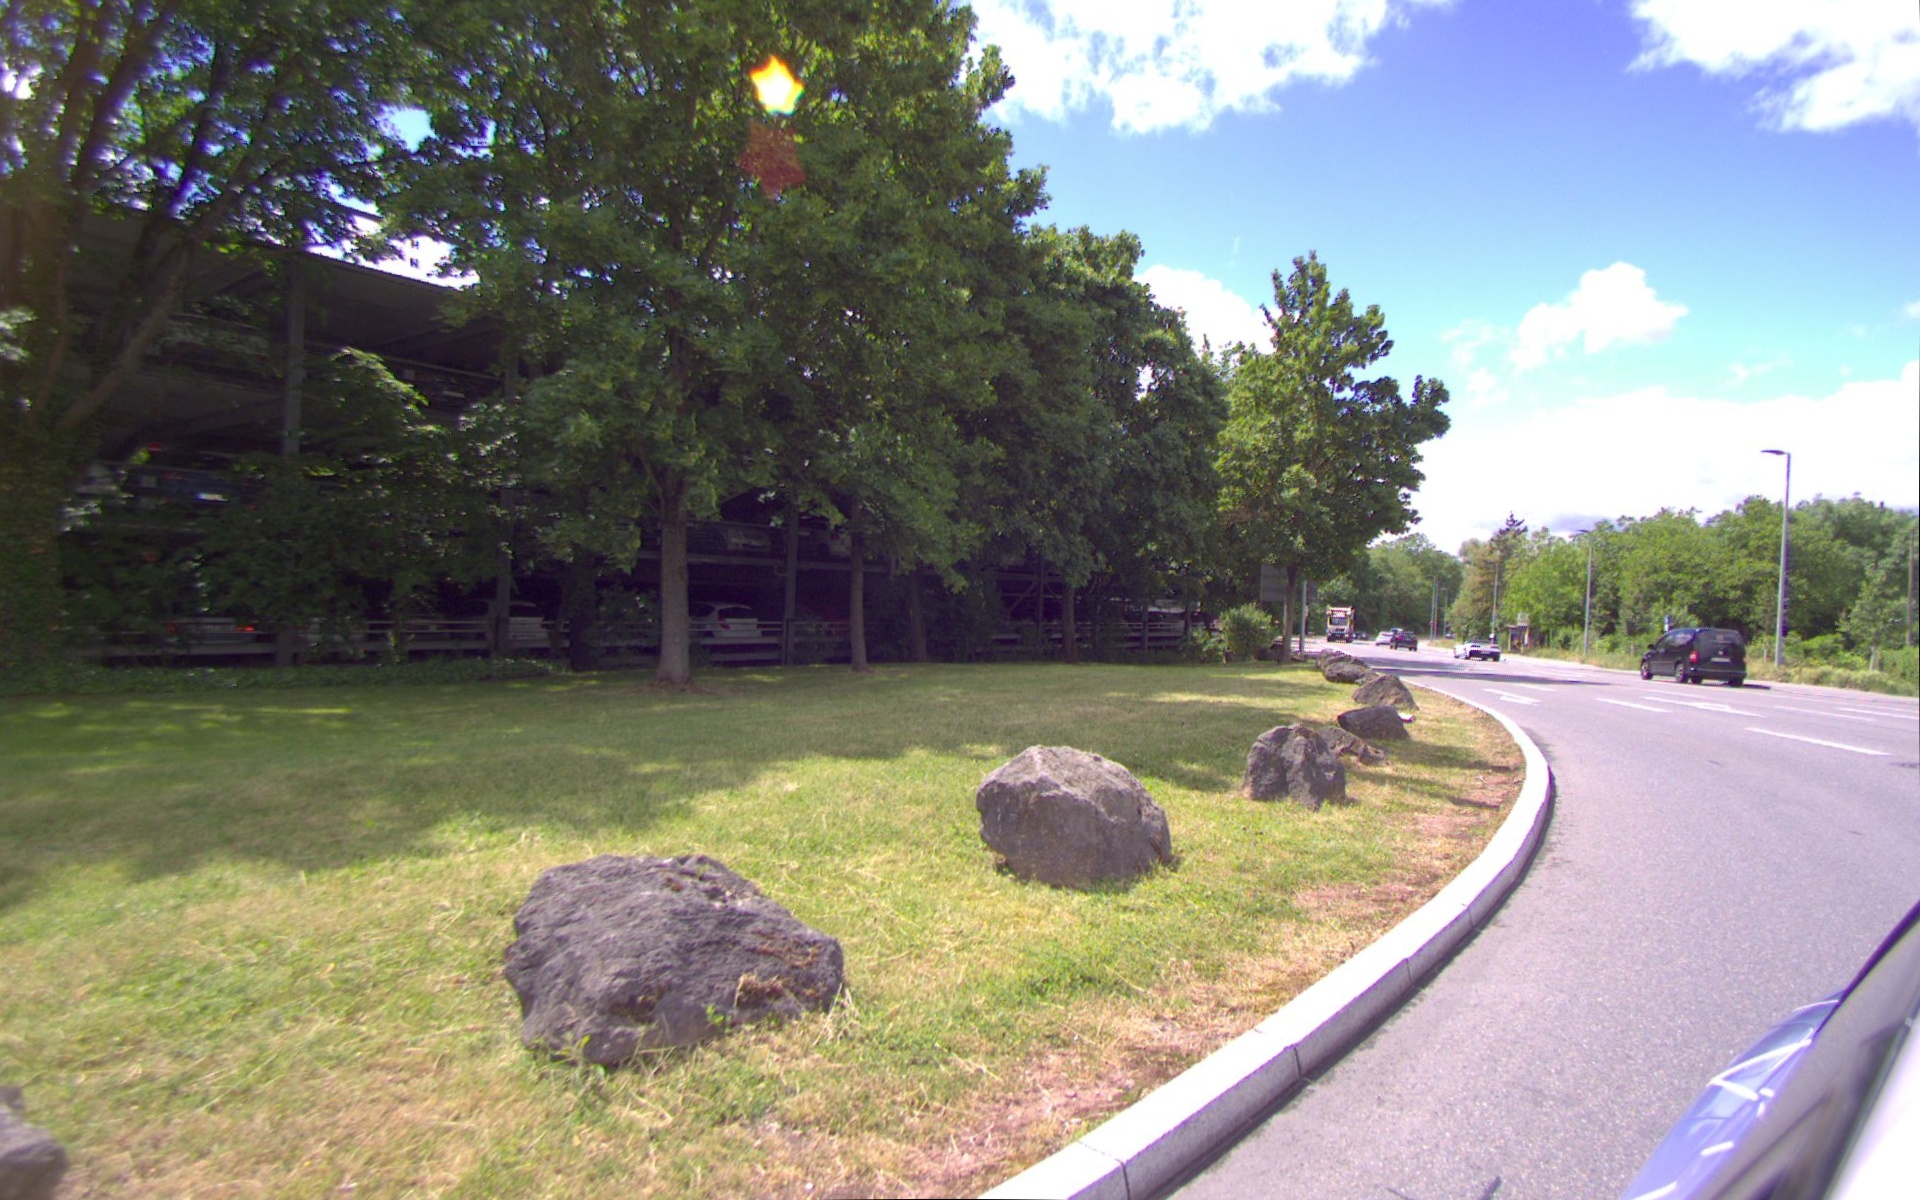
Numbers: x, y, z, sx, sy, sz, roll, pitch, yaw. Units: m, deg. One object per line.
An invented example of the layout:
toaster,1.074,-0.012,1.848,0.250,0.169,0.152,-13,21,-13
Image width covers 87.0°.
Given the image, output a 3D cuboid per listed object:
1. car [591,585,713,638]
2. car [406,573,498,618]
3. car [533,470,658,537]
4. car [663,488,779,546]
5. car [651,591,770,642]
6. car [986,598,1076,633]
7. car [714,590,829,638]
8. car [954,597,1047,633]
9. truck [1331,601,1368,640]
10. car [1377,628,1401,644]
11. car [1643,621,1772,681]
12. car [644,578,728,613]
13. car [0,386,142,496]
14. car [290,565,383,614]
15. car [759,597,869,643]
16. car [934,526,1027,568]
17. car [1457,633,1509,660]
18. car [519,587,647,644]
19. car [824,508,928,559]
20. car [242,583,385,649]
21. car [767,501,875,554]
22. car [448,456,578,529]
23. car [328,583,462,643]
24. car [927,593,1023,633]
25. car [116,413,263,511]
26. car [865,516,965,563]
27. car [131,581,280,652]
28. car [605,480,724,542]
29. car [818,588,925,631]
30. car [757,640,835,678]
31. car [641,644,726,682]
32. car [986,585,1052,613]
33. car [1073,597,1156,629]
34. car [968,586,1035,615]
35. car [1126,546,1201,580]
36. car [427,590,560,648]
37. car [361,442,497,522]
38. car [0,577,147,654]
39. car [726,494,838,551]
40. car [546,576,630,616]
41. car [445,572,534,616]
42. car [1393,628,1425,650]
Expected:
car,-9.298,0.330,30.435,3.782,1.410,1.750,2,0,41
car,-18.150,-0.173,36.095,3.768,1.388,1.571,4,1,41
car,-10.362,-2.681,28.651,3.689,1.561,1.701,2,-2,42
car,-7.599,-2.577,32.080,3.689,1.561,1.701,2,-2,42
car,-7.906,0.511,31.883,3.782,1.410,1.750,2,0,41
car,3.197,0.705,46.132,3.841,1.410,1.670,2,0,41
car,-6.281,0.438,33.575,3.782,1.410,1.750,2,0,41
car,1.751,0.650,44.553,3.841,1.410,1.670,2,0,41
truck,43.516,2.179,112.885,3.209,3.908,9.792,4,1,24
car,44.065,3.687,104.008,1.749,1.460,3.877,3,0,18
car,24.636,1.702,33.590,1.765,1.802,4.786,1,-3,15
car,-12.101,-0.217,44.592,3.782,1.410,1.750,2,0,41
car,-17.393,-2.984,19.638,3.689,1.561,1.701,2,-2,42
car,-20.945,-0.367,33.945,3.768,1.388,1.571,4,1,41
car,-5.148,0.691,35.541,3.782,1.410,1.750,2,0,41
car,0.846,-2.222,42.810,3.689,1.561,1.701,2,-2,42
car,31.155,2.730,60.393,1.885,1.307,4.584,3,0,17
car,-10.650,0.406,28.518,3.782,1.410,1.750,2,0,41
car,-3.150,-2.423,37.418,3.689,1.640,1.701,2,-2,42
car,-14.901,0.336,23.271,3.782,1.308,1.750,2,0,41
car,-4.917,-2.497,35.530,3.689,1.640,1.701,2,-2,42
car,-11.923,-2.789,26.899,3.689,1.561,1.701,2,-2,42
car,-14.276,0.304,25.516,3.782,1.308,1.750,2,0,41
car,0.592,0.533,42.386,3.841,1.508,1.670,2,0,41
car,-16.167,-2.800,21.182,3.689,1.561,1.701,2,-2,42
car,-1.765,-2.309,39.083,3.689,1.561,1.701,2,-2,42
car,-16.166,0.310,21.619,3.782,1.308,1.750,2,0,41
car,-9.014,-2.640,30.725,3.689,1.561,1.701,2,-2,42
car,-3.313,0.339,37.464,3.841,1.410,1.750,2,0,41
car,-8.114,2.859,49.892,3.842,1.465,1.670,4,1,41
car,-12.176,2.747,44.511,3.782,1.349,1.750,2,0,41
car,3.666,-0.097,63.524,3.842,1.504,1.727,4,1,41
car,7.788,0.653,51.177,3.841,1.410,1.670,2,0,41
car,2.502,0.032,61.561,3.842,1.504,1.670,4,1,41
car,11.071,-2.030,55.160,3.689,1.662,1.634,2,-2,42
car,-12.319,0.470,26.635,3.782,1.308,1.750,2,0,41
car,-13.086,-2.819,24.877,3.689,1.561,1.701,2,-2,42
car,-17.529,0.259,19.885,3.782,1.308,1.750,2,0,41
car,-5.988,-2.550,33.859,3.689,1.640,1.701,2,-2,42
car,-15.236,-0.160,41.416,3.768,1.388,1.571,4,1,41
car,-17.631,-0.237,37.853,3.768,1.388,1.571,4,1,41
car,38.869,3.365,87.673,1.802,1.675,4.508,3,0,16
